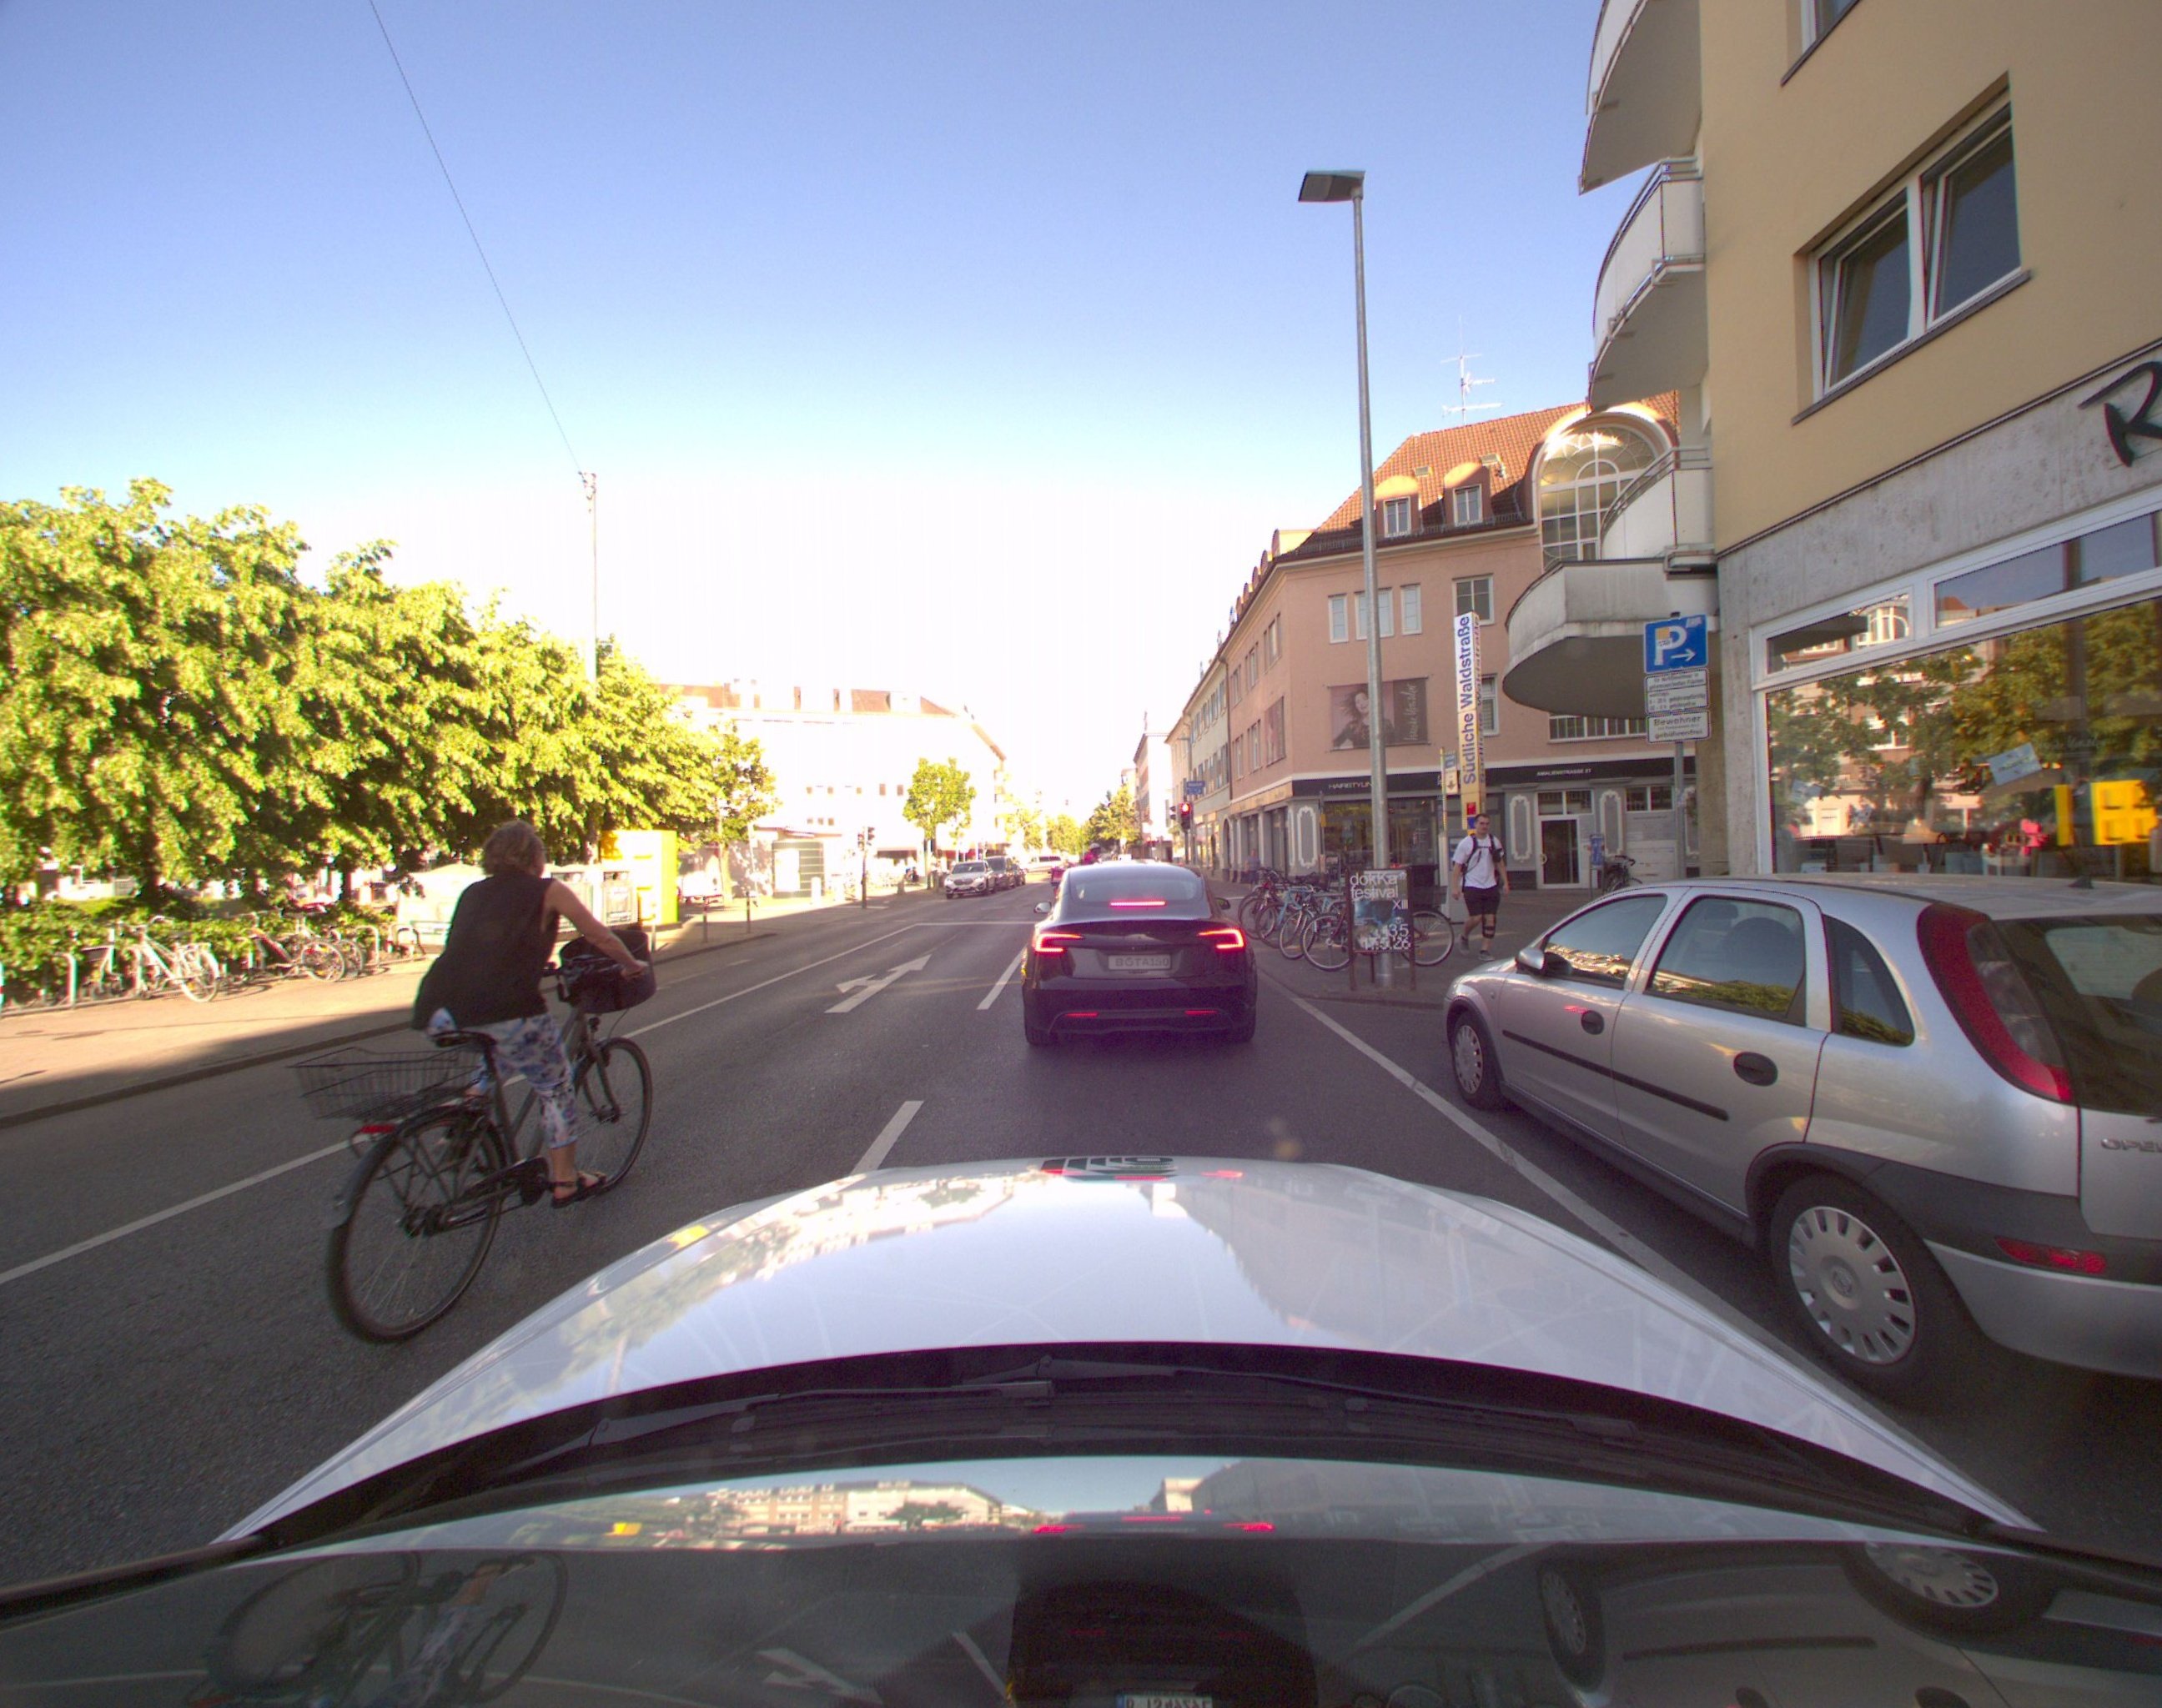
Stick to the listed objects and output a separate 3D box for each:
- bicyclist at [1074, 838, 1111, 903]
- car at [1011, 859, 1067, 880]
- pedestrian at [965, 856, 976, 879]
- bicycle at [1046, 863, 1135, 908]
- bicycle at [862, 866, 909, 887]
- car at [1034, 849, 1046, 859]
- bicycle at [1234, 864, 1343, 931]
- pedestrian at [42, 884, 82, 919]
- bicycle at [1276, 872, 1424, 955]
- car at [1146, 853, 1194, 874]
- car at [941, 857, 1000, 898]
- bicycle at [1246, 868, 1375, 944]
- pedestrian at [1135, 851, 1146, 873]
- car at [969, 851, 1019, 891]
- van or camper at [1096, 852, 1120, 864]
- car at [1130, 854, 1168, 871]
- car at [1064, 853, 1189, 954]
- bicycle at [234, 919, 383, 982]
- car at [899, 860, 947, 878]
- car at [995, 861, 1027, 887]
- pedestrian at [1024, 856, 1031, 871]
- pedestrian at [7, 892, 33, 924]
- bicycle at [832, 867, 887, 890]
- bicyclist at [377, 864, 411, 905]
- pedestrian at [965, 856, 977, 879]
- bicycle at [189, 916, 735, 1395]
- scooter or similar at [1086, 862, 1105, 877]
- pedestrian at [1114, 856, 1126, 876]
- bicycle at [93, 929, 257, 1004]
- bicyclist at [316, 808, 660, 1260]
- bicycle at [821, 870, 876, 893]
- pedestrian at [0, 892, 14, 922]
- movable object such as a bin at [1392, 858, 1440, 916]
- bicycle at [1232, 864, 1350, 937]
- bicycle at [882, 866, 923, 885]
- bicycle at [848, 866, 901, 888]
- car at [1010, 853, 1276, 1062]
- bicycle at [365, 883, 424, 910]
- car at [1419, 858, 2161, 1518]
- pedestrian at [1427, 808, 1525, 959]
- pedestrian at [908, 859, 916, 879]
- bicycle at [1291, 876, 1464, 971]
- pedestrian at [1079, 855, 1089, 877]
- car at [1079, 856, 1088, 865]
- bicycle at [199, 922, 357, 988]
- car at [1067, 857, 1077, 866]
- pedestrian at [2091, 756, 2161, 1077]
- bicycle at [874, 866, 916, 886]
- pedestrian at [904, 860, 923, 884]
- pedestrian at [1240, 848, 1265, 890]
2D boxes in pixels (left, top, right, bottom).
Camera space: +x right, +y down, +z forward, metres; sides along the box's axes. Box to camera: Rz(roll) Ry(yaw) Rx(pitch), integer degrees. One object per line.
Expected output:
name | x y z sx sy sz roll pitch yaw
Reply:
bicyclist | 0.325 0.467 22.784 0.859 1.755 0.683 -3 -2 9
car | -4.214 1.528 81.095 5.213 1.866 1.871 -1 0 -20
pedestrian | -8.703 1.070 64.242 0.661 1.760 0.648 0 -1 -24
bicycle | 0.269 0.879 22.783 2.376 1.151 0.714 -2 1 8
bicycle | -12.052 1.386 50.312 2.655 1.259 0.942 0 -1 -1
car | -9.021 -0.017 180.149 2.266 2.014 4.720 0 -1 3
bicycle | 3.740 0.782 14.783 1.806 1.152 0.653 -1 0 3
pedestrian | -56.935 2.647 45.513 1.088 1.842 1.309 -1 -1 34
bicycle | 3.659 0.796 11.167 1.806 1.060 0.653 -1 0 3
car | 8.148 0.870 74.661 4.006 1.867 1.686 -1 0 -20
car | -4.881 1.014 36.609 1.818 1.565 4.302 -5 -1 2
bicycle | 3.522 0.790 12.578 1.806 1.102 0.653 -1 0 3
pedestrian | 5.014 0.682 68.784 0.701 1.877 0.813 -1 -1 22
car | -4.494 0.834 42.932 1.938 1.947 4.822 -1 0 2
van or camper | 5.633 0.848 167.672 4.832 2.438 1.851 -1 0 1
car | 7.588 0.949 91.087 3.965 1.788 2.049 -1 0 13
car | 0.745 0.748 14.318 1.843 1.482 4.453 0 0 2
bicycle | -11.458 1.424 12.113 1.663 0.859 0.469 0 -1 -5
car | -14.872 1.382 76.655 4.138 1.530 1.539 -1 0 -24
car | -4.255 1.203 50.058 1.455 1.430 3.607 -5 -1 2
pedestrian | -6.362 1.126 97.366 0.734 1.868 0.787 0 -1 -15
pedestrian | -52.389 2.658 40.225 0.827 1.520 0.782 -1 -1 38
bicycle | -12.392 1.369 45.599 2.772 1.274 0.933 0 -1 -2
bicyclist | -23.844 1.062 28.276 0.701 1.381 0.577 -3 -2 14
pedestrian | -8.610 1.061 63.584 0.844 1.760 0.704 0 -1 -12
bicycle | -2.209 0.939 3.343 0.625 1.223 2.002 0 0 3
scooter or similar | 1.196 1.260 65.953 1.339 1.134 0.804 0 -1 -23
pedestrian | 3.269 0.995 68.245 0.812 1.609 0.702 0 -1 -35
bicycle | -11.458 1.417 10.317 1.560 0.886 0.470 0 -1 1
bicyclist | -2.208 0.596 3.170 0.603 1.484 0.959 0 -1 3
bicycle | -12.323 1.437 43.255 2.652 1.195 0.942 0 -1 -1
pedestrian | -55.938 2.734 41.936 1.029 1.520 1.023 0 -1 -43
movable object such as a bin | 6.748 0.658 16.434 0.633 1.103 0.728 -4 -1 5
bicycle | 3.500 0.774 13.653 1.806 1.152 0.653 -1 0 3
bicycle | -12.051 1.419 55.015 2.535 1.251 0.942 0 -1 -1
bicycle | -12.153 1.362 47.995 2.867 1.270 0.942 0 -1 -1
car | 0.499 0.737 7.894 1.843 1.447 4.453 0 0 2
bicycle | -23.818 1.474 28.254 1.840 0.823 0.583 -4 -1 14
car | 2.964 0.737 3.558 1.578 1.426 3.581 0 -1 2
pedestrian | 4.993 0.367 10.358 0.805 1.823 0.984 0 -1 5
pedestrian | -13.264 1.168 64.031 0.625 1.524 0.577 0 -1 -13
bicycle | 3.639 0.844 10.094 1.875 1.044 0.653 -2 0 3
pedestrian | 0.248 0.954 65.526 0.660 1.760 0.649 0 -1 -22
car | 0.483 1.393 178.881 1.886 1.813 3.925 0 -1 0
bicycle | -11.423 1.423 11.614 1.667 0.859 0.469 0 -1 -5
car | -1.999 1.773 187.440 2.124 1.970 4.135 -1 0 2
pedestrian | 6.297 0.318 4.535 0.791 1.754 0.715 -3 -1 -36
bicycle | -11.997 1.399 52.588 2.535 1.251 0.942 0 -1 -1
pedestrian | -11.592 1.244 56.332 1.096 1.611 1.259 0 -1 -18
pedestrian | 6.431 0.573 30.508 0.786 1.549 0.724 0 -1 2
